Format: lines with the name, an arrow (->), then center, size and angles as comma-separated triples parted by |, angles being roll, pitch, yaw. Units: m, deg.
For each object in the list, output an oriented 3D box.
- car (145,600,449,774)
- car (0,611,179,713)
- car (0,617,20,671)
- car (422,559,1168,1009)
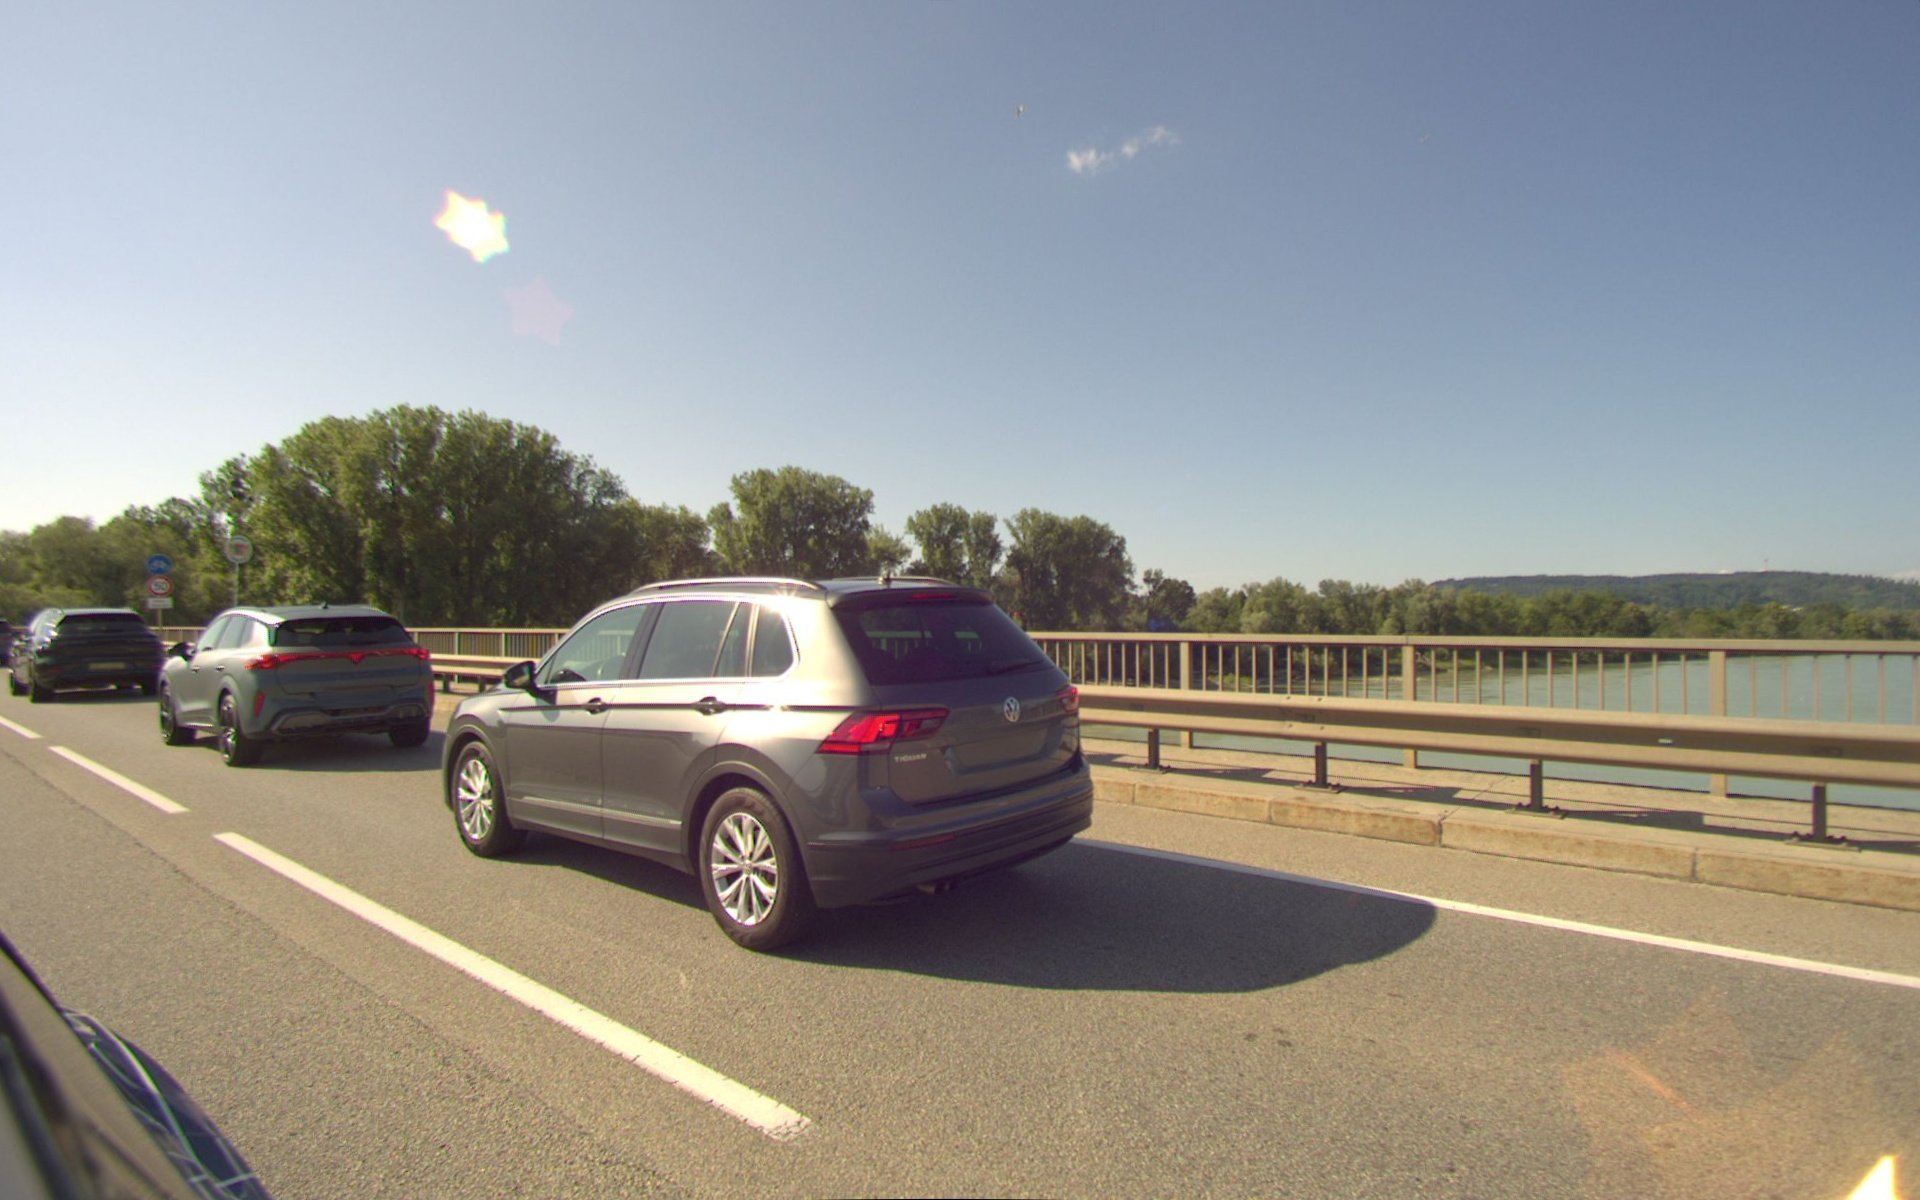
car -> -7.540, 0.839, 11.345 | 4.199, 1.589, 1.787 | -2, -1, 41
car -> -17.009, 1.103, 19.683 | 4.720, 1.665, 2.032 | -1, 1, 42
car -> -33.010, 1.469, 33.881 | 4.564, 1.735, 1.835 | -2, -1, 42
car -> -1.192, 0.693, 5.711 | 4.271, 1.596, 1.855 | -2, -1, 41
